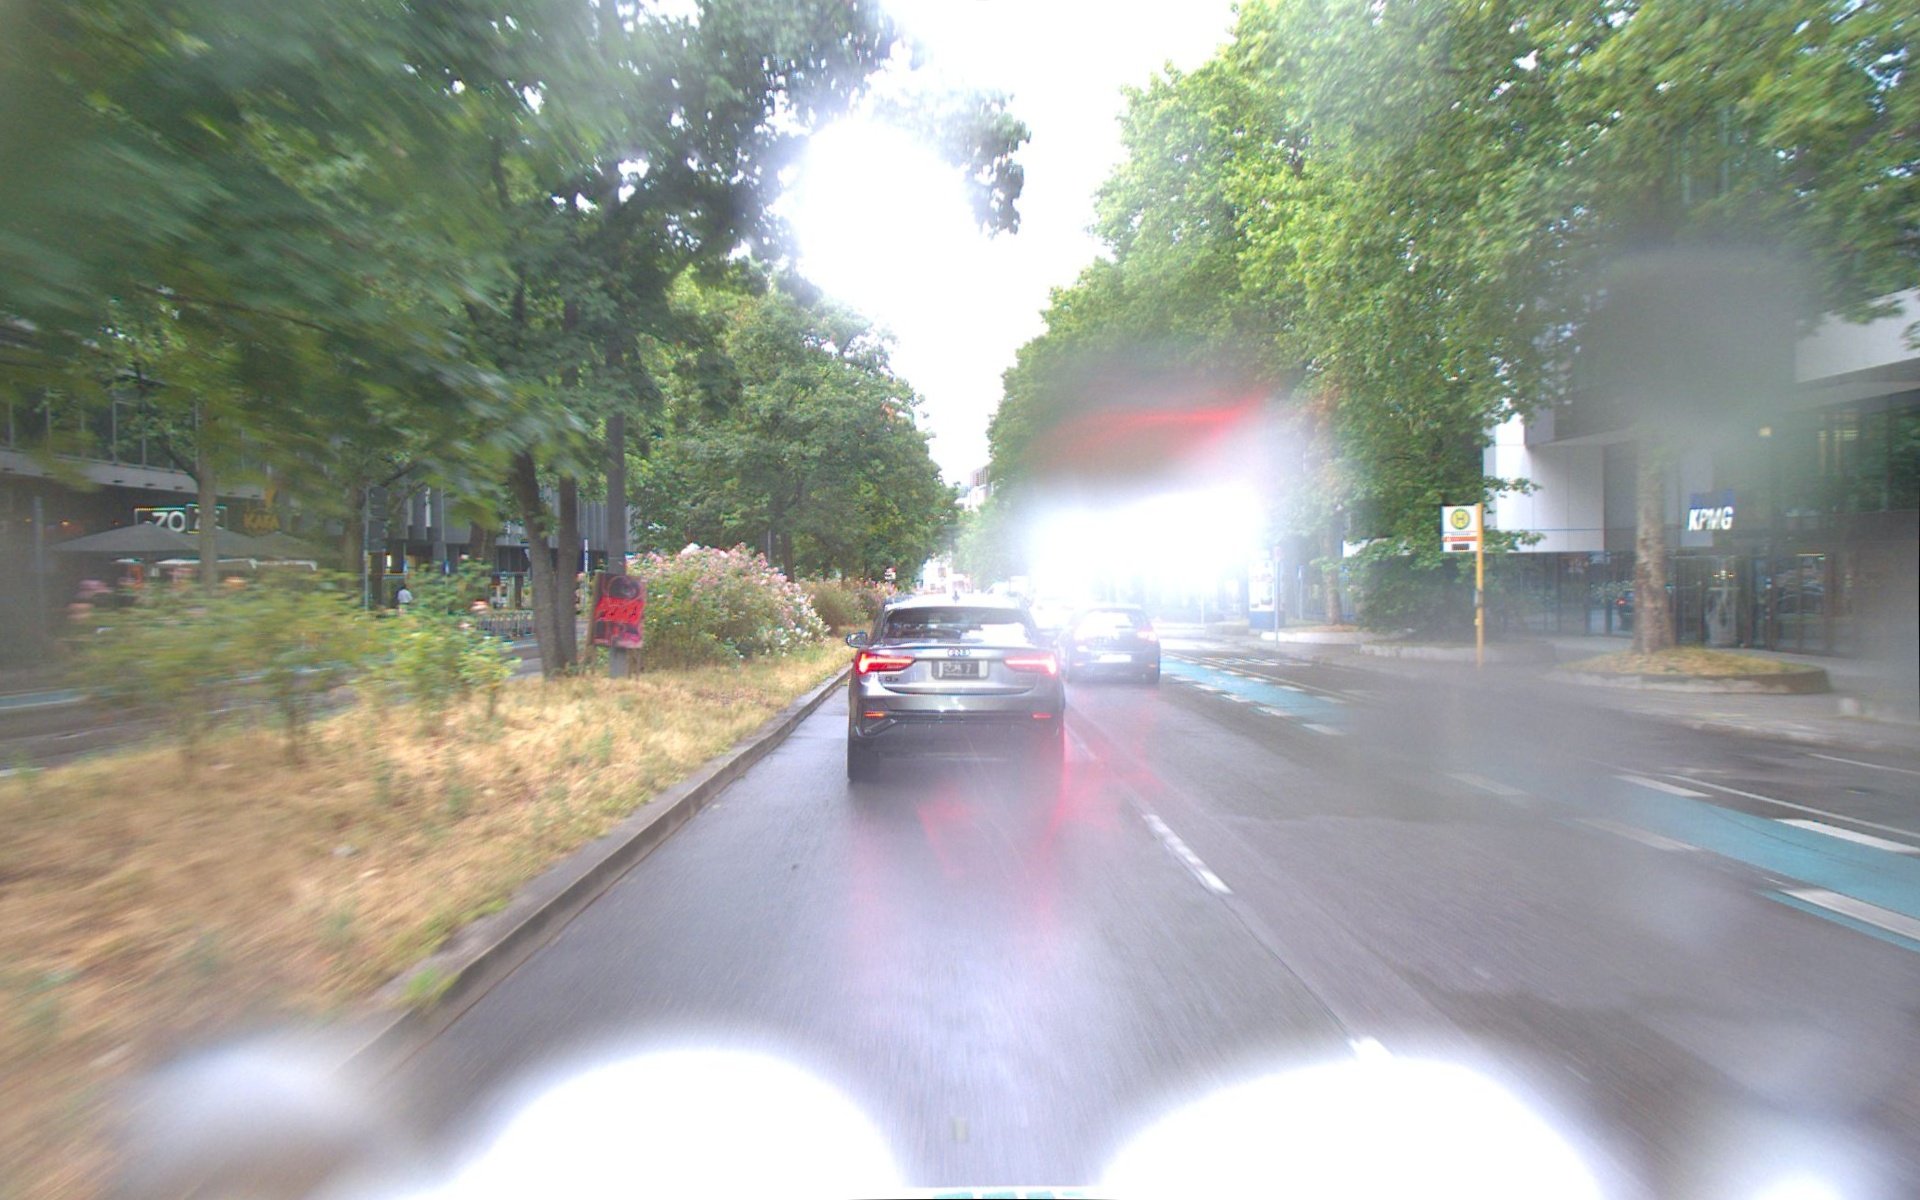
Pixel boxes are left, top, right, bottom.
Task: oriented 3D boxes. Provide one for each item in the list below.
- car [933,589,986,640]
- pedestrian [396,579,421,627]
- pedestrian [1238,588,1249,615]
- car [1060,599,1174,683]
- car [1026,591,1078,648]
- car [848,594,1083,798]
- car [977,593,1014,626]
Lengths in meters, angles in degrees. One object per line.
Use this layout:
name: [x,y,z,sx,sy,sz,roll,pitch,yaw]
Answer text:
car: [-0.031,0.457,54.619,1.686,1.605,3.961,0,0,-1]
pedestrian: [-23.814,0.122,71.397,0.862,2.049,0.636,0,0,-1]
pedestrian: [19.538,0.120,114.110,0.637,1.847,0.655,0,0,-1]
car: [2.929,0.728,31.621,1.729,1.437,3.999,-1,0,-1]
car: [2.850,0.578,51.698,1.404,1.714,2.979,-1,0,0]
car: [0.072,0.737,15.131,1.825,1.559,4.527,0,0,1]
car: [1.967,0.501,92.491,1.953,1.780,4.000,-1,0,0]
